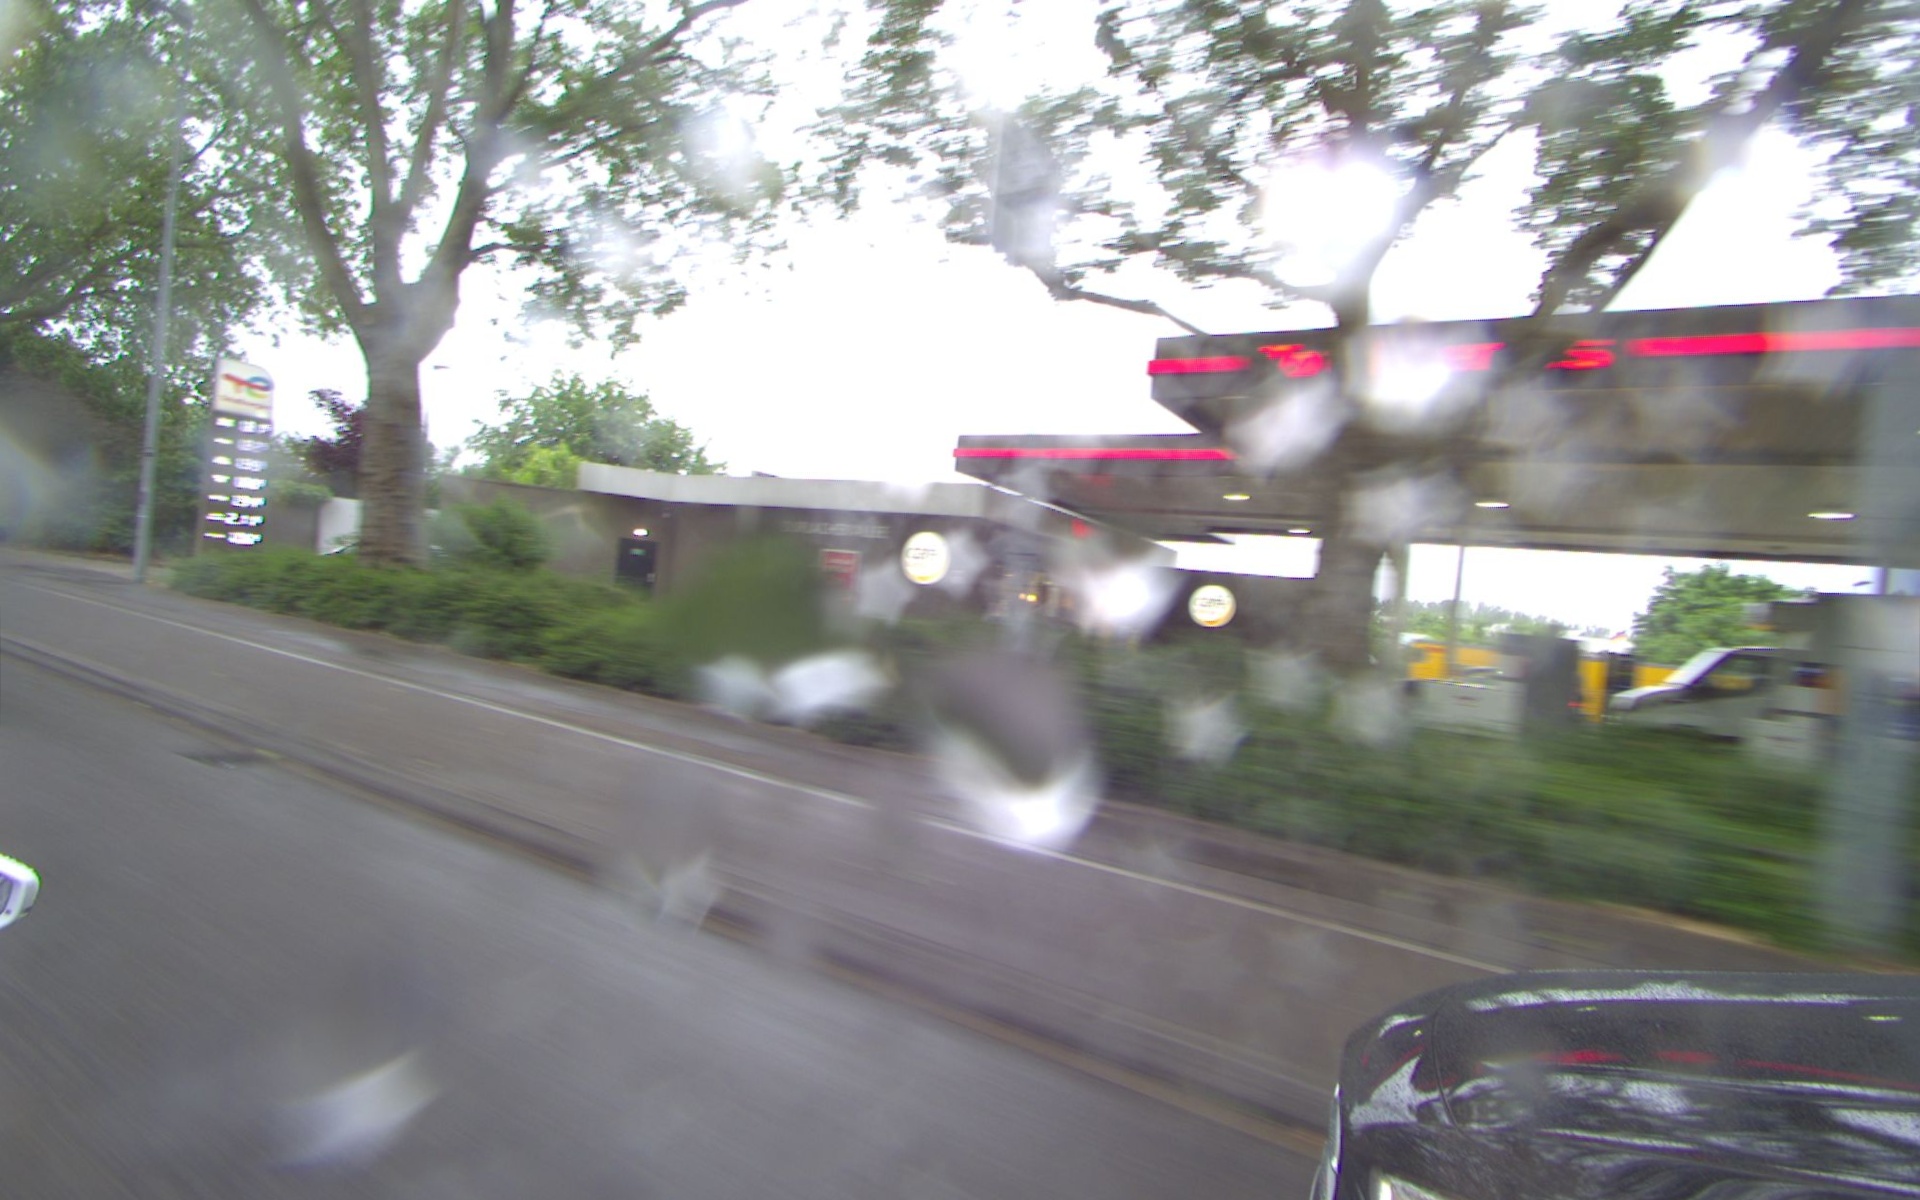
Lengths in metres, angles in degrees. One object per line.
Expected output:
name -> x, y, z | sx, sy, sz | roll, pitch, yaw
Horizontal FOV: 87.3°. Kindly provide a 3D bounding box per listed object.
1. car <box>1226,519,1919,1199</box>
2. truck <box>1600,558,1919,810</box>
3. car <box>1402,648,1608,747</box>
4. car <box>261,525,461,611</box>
car -> 2.702, 1.058, 1.090 | 4.347, 1.549, 1.819 | 10, 2, 31
truck -> 14.834, 1.501, 15.772 | 7.638, 3.391, 2.700 | 7, -1, 30
car -> 12.241, 2.177, 22.713 | 3.815, 1.611, 1.832 | 6, -2, 32
car -> -13.785, -0.695, 23.345 | 3.497, 1.448, 1.606 | 8, -2, -10
